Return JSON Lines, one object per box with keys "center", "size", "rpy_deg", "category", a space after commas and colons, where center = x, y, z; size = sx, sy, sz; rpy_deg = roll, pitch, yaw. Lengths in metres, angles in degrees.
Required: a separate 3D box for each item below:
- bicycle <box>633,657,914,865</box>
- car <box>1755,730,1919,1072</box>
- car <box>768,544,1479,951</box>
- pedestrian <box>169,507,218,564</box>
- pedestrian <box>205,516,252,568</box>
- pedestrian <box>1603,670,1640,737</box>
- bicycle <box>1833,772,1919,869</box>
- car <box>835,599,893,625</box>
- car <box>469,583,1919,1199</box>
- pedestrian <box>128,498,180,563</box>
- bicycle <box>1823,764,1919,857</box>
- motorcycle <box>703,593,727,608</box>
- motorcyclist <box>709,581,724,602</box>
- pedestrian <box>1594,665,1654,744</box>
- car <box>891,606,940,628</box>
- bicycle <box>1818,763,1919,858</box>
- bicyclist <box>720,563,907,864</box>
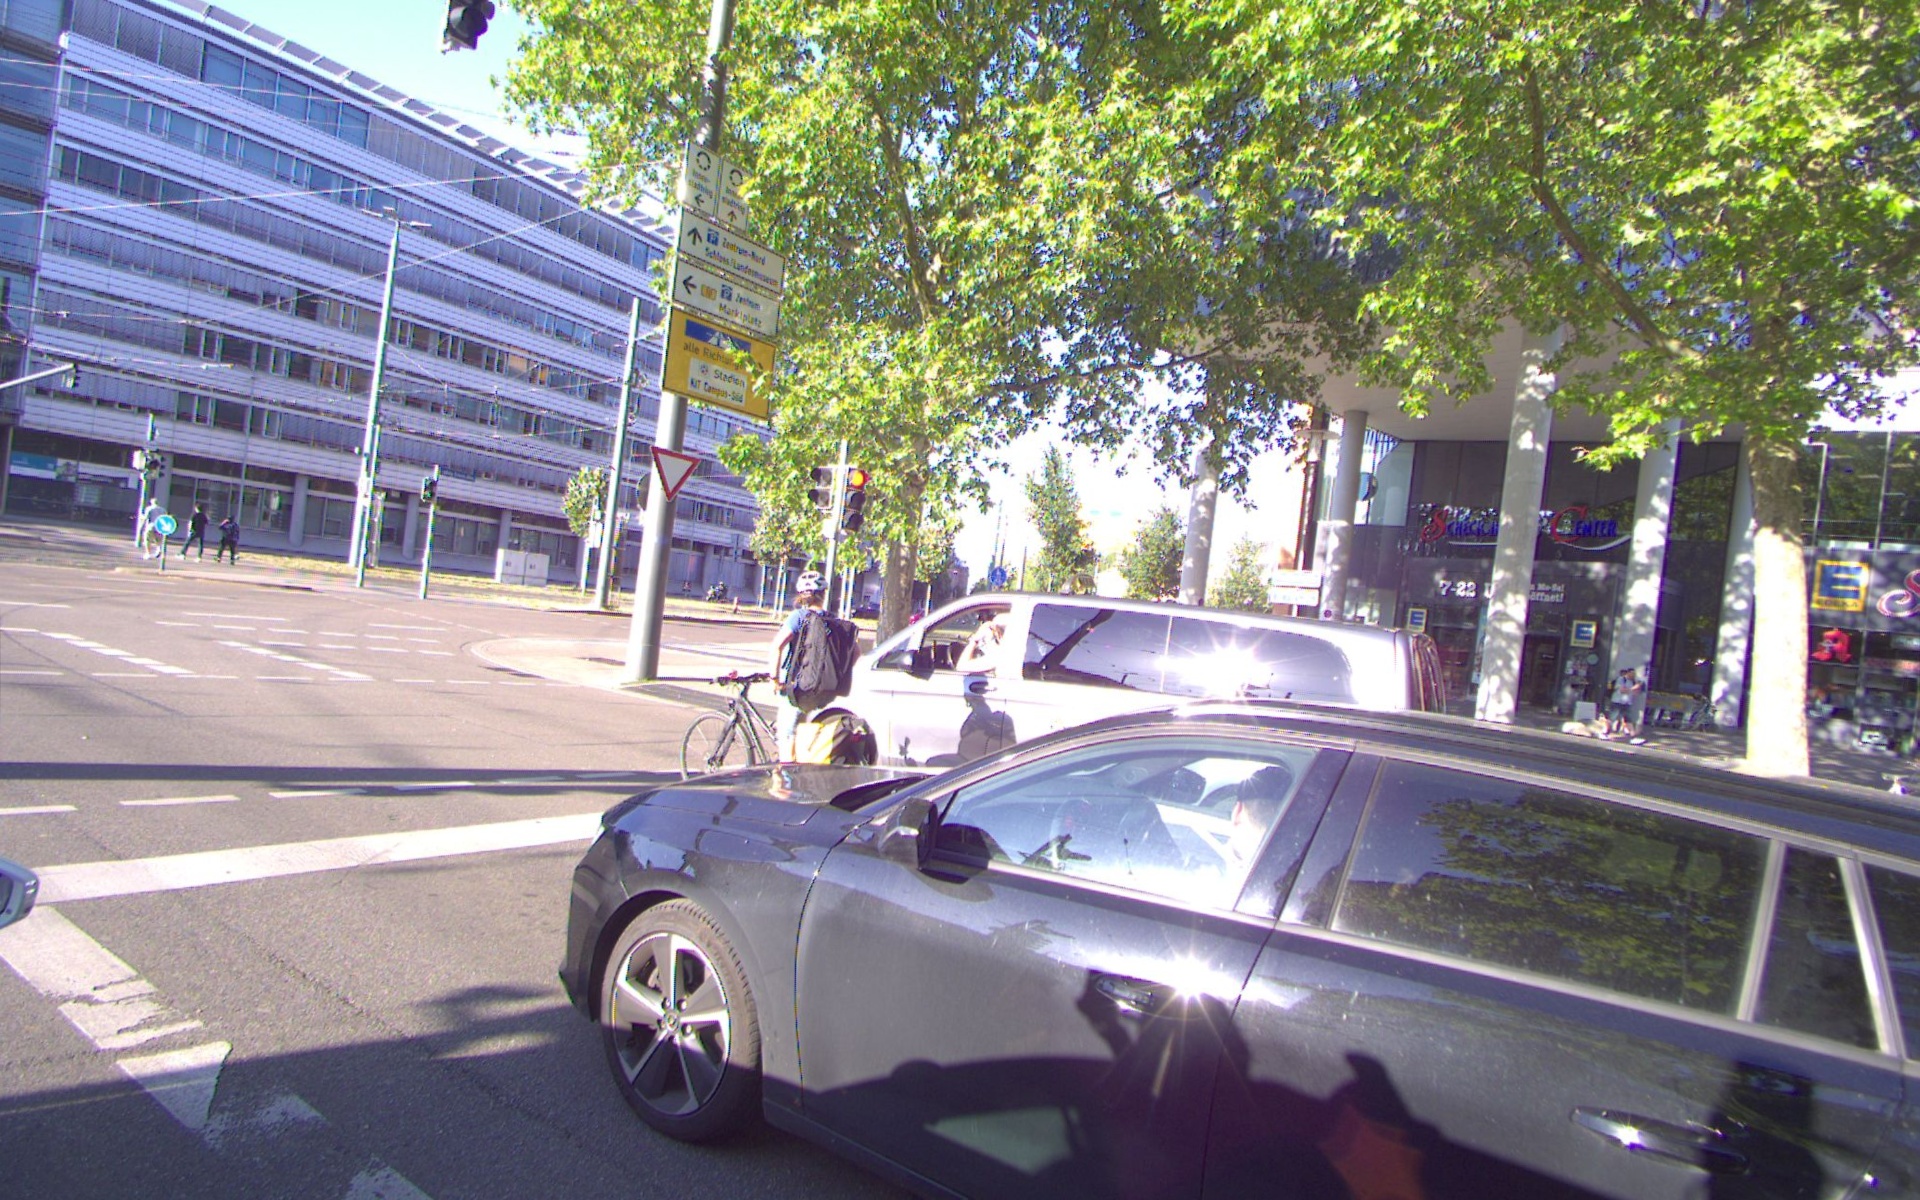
{"center": [-1.268, 0.994, 6.645], "size": [1.839, 0.993, 0.561], "rpy_deg": [7, 1, 32], "category": "bicycle"}
{"center": [6.527, 1.728, 4.618], "size": [4.181, 1.503, 1.741], "rpy_deg": [7, 0, 31], "category": "car"}
{"center": [1.118, 0.851, 7.945], "size": [5.012, 2.004, 1.939], "rpy_deg": [7, 0, 31], "category": "car"}
{"center": [-24.995, -2.105, 32.800], "size": [1.020, 1.706, 0.912], "rpy_deg": [7, 1, 39], "category": "pedestrian"}
{"center": [-24.405, -1.933, 33.575], "size": [0.883, 1.583, 0.947], "rpy_deg": [7, 1, 39], "category": "pedestrian"}
{"center": [17.582, 2.746, 26.747], "size": [0.598, 1.707, 0.511], "rpy_deg": [6, 1, -41], "category": "pedestrian"}
{"center": [10.538, 2.476, 11.098], "size": [1.233, 0.898, 0.462], "rpy_deg": [7, 1, 32], "category": "bicycle"}
{"center": [-6.910, 0.886, 72.661], "size": [1.758, 1.415, 4.157], "rpy_deg": [7, 0, 37], "category": "car"}
{"center": [0.797, 0.952, 2.732], "size": [4.199, 1.431, 1.742], "rpy_deg": [7, -2, 32], "category": "car"}
{"center": [-24.432, -2.091, 30.510], "size": [0.857, 1.811, 0.864], "rpy_deg": [7, 1, 32], "category": "pedestrian"}
{"center": [11.495, 2.604, 12.356], "size": [0.460, 0.938, 1.210], "rpy_deg": [6, 0, -39], "category": "bicycle"}
{"center": [-16.077, 0.015, 66.041], "size": [0.460, 0.819, 1.568], "rpy_deg": [7, 0, 36], "category": "motorcycle"}
{"center": [-16.014, -0.546, 66.046], "size": [0.452, 1.291, 0.712], "rpy_deg": [7, 1, 36], "category": "motorcyclist"}
{"center": [16.350, 2.565, 24.790], "size": [0.595, 1.805, 0.883], "rpy_deg": [6, 1, -22], "category": "pedestrian"}
{"center": [-3.550, 1.401, 81.724], "size": [1.758, 1.411, 3.984], "rpy_deg": [7, 1, 37], "category": "car"}
{"center": [11.197, 2.542, 12.084], "size": [0.437, 0.930, 1.210], "rpy_deg": [6, 0, -39], "category": "bicycle"}
{"center": [-0.919, 0.680, 6.348], "size": [0.766, 1.714, 0.632], "rpy_deg": [7, 1, 32], "category": "bicyclist"}
